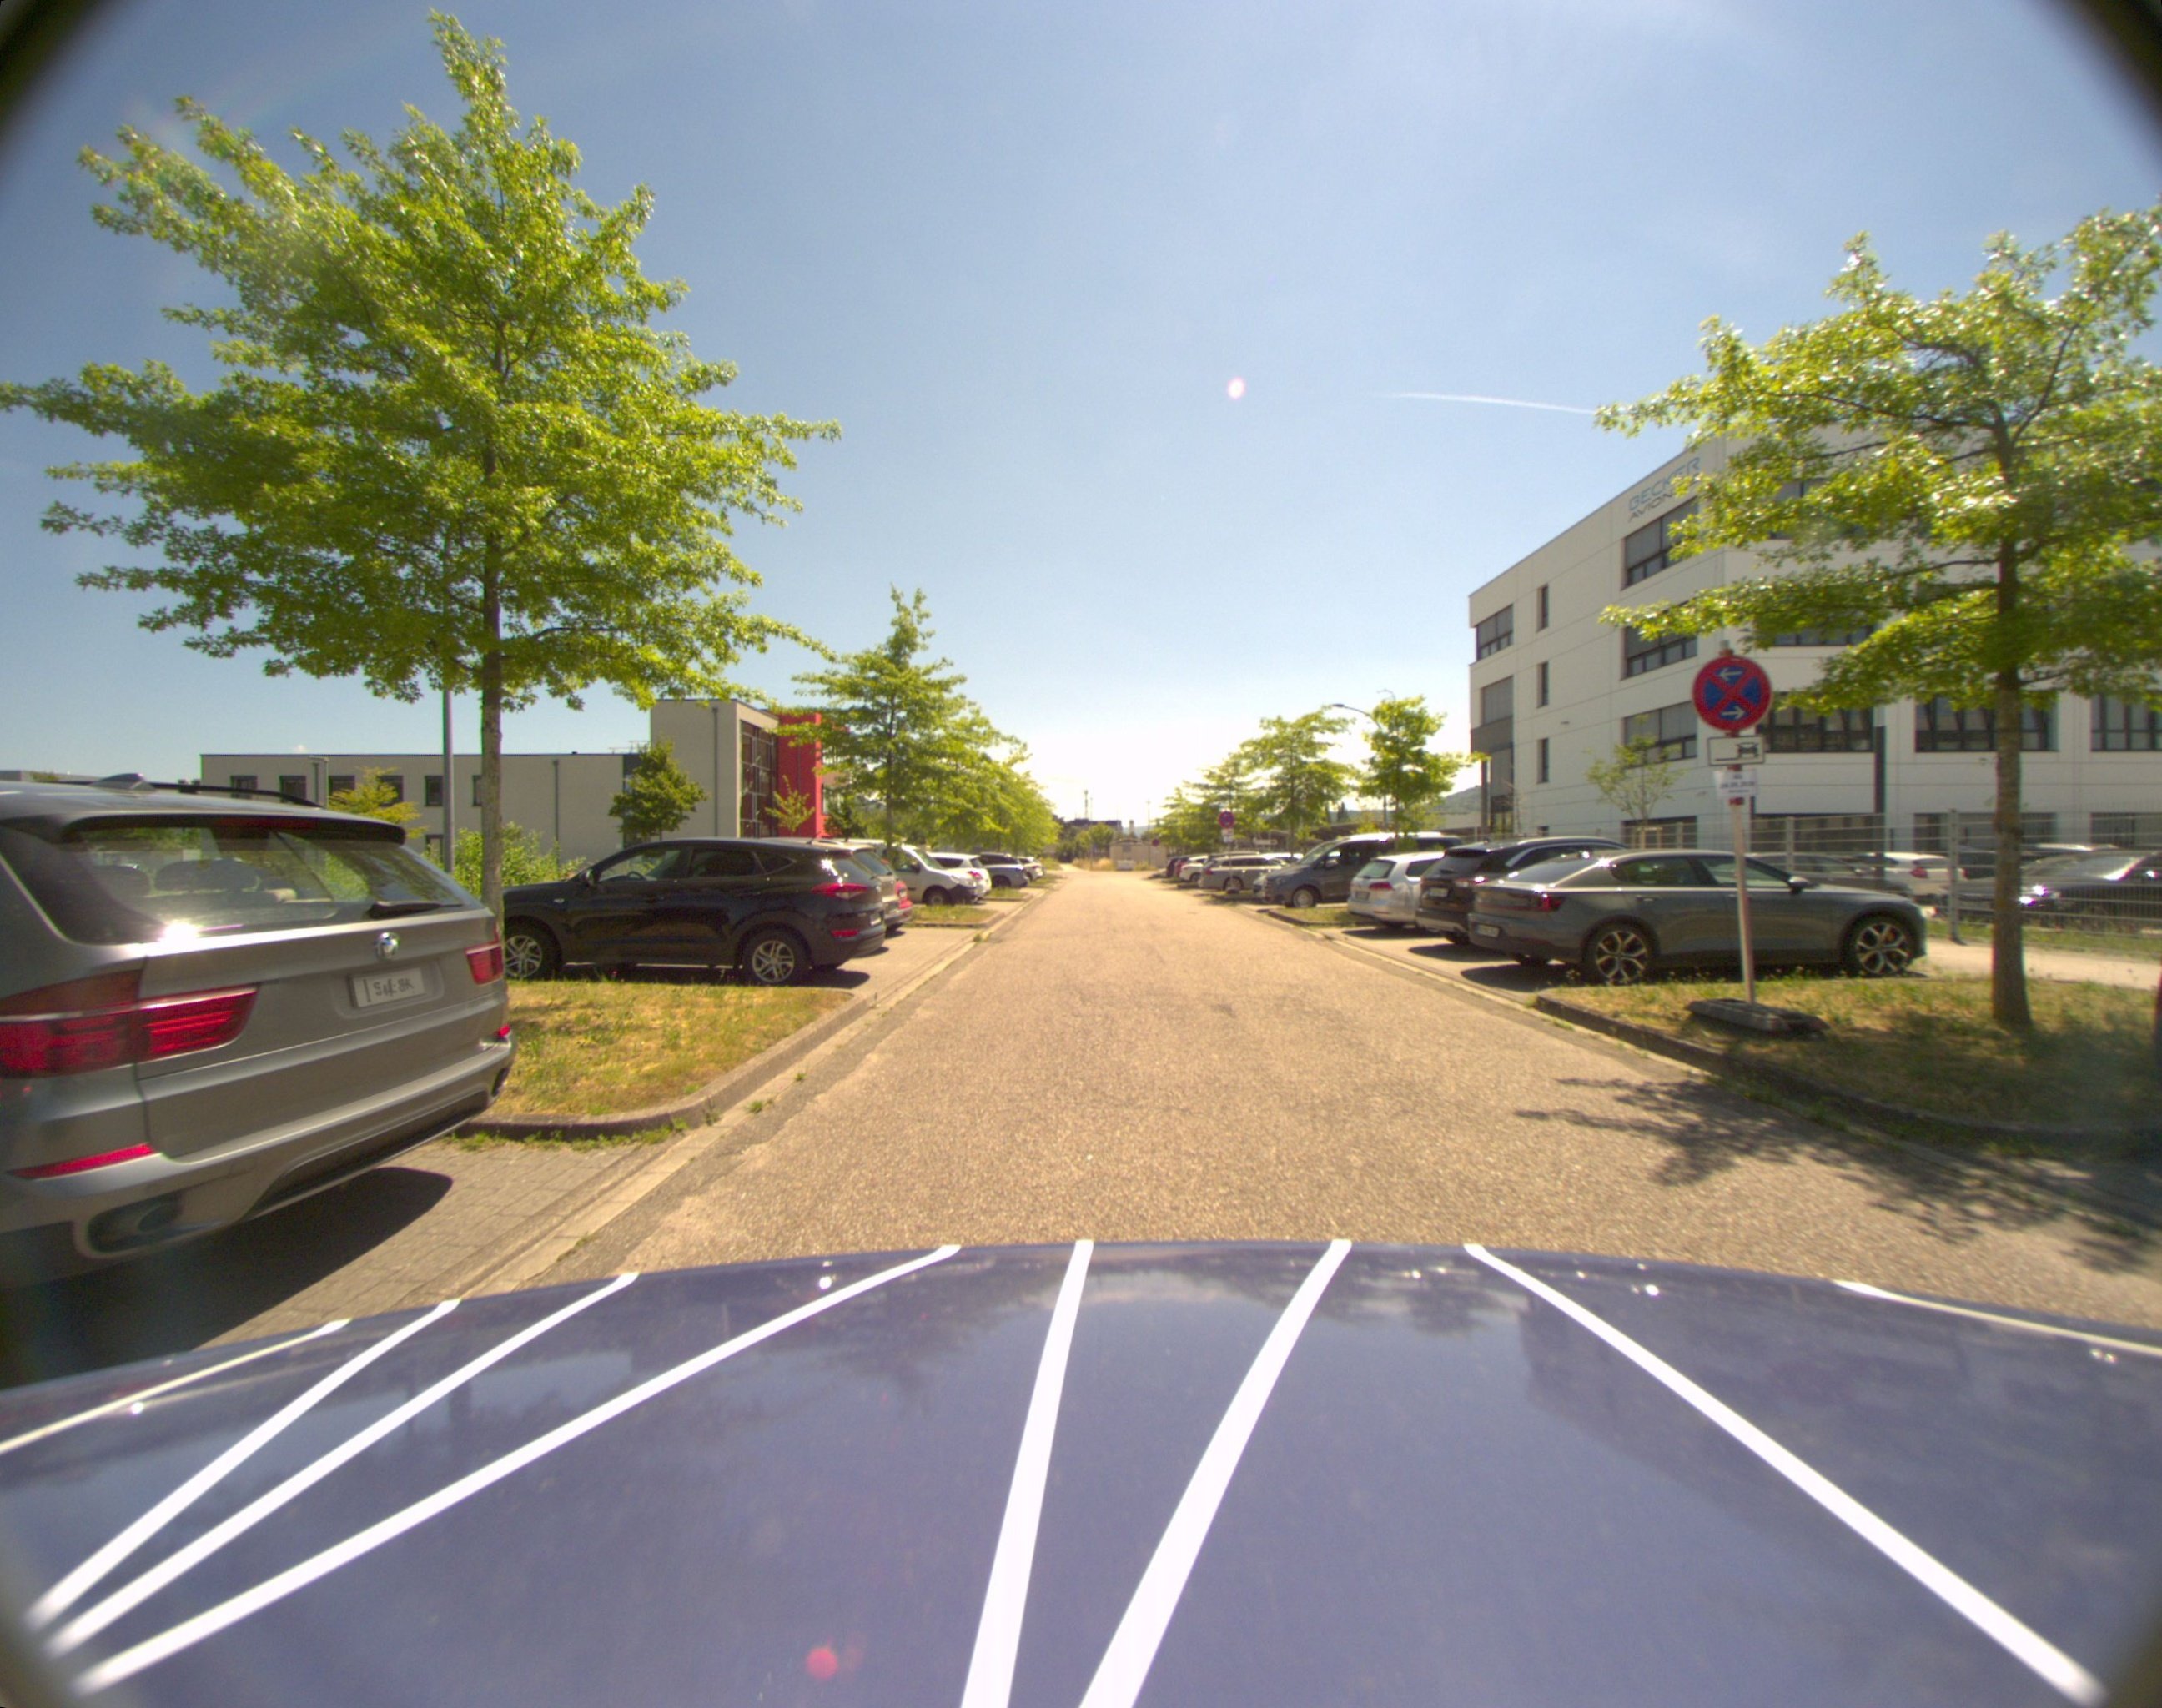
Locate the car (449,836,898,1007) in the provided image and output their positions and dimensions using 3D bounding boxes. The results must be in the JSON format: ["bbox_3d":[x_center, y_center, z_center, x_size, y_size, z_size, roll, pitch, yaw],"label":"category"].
[{"bbox_3d":[-4.424,0.696,8.741,4.184,1.686,1.782,1,0,0],"label":"car"}]

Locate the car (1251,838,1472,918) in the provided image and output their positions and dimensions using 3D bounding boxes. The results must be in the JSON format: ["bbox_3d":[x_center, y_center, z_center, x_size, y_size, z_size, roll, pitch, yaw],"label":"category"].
[{"bbox_3d":[7.254,0.610,20.090,5.082,1.880,1.997,-2,0,2],"label":"car"}]

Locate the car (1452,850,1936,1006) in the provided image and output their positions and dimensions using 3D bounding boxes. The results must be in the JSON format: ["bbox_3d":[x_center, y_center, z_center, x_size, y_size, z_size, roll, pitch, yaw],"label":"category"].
[{"bbox_3d":[6.877,0.781,8.874,4.203,1.471,1.712,-3,0,1],"label":"car"}]

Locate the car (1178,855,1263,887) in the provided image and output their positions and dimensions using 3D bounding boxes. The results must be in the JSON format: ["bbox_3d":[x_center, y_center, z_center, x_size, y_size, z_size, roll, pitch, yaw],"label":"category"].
[{"bbox_3d":[7.437,0.913,40.817,4.182,1.504,1.808,-2,-1,2],"label":"car"}]

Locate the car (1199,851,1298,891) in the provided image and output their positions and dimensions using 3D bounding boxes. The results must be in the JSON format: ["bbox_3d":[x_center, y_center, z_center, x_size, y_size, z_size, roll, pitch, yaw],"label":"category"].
[{"bbox_3d":[7.559,0.777,34.515,4.127,1.625,1.728,-2,0,3],"label":"car"}]

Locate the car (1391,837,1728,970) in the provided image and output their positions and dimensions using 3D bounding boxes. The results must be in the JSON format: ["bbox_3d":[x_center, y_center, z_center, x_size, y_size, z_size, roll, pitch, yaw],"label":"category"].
[{"bbox_3d":[7.088,0.681,11.515,3.998,1.669,1.776,-3,0,-4],"label":"car"}]

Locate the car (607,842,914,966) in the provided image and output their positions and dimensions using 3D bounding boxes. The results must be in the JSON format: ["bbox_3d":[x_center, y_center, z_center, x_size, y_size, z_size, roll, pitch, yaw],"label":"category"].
[{"bbox_3d":[-4.718,0.697,11.580,3.885,1.668,1.782,1,0,1],"label":"car"}]

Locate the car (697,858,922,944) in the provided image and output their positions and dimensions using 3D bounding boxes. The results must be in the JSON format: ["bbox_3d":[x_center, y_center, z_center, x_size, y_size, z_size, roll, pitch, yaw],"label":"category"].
[{"bbox_3d":[-4.854,0.810,13.925,3.466,1.408,1.754,1,0,0],"label":"car"}]

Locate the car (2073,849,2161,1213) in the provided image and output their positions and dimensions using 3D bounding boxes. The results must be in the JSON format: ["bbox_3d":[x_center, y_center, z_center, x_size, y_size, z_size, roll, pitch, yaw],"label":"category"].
[{"bbox_3d":[6.652,0.732,2.716,3.746,1.612,1.816,-2,0,1],"label":"car"}]

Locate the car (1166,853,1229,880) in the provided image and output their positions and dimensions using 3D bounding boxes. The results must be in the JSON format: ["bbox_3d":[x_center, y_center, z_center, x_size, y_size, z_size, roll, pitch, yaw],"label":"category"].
[{"bbox_3d":[7.635,0.818,50.065,3.915,1.582,1.728,-2,0,4],"label":"car"}]

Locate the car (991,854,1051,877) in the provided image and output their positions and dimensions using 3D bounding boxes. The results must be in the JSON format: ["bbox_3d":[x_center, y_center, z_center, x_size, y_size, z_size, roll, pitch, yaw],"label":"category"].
[{"bbox_3d":[-4.313,0.799,54.868,4.004,1.481,1.728,2,0,5],"label":"car"}]

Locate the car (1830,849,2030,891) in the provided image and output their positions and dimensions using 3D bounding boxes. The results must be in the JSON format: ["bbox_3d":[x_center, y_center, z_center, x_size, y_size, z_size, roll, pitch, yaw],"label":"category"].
[{"bbox_3d":[27.309,0.472,24.680,1.998,1.221,3.999,0,1,1],"label":"car"}]

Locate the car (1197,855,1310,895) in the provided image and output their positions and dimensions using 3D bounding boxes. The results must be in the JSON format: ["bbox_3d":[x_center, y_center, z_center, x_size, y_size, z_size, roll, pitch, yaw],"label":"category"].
[{"bbox_3d":[7.228,0.859,32.165,4.322,1.464,1.727,-2,0,-1],"label":"car"}]

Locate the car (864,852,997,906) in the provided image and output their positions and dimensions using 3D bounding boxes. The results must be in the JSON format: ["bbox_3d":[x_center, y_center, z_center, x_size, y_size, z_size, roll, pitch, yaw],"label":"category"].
[{"bbox_3d":[-4.472,0.733,22.951,3.640,1.494,1.676,1,1,2],"label":"car"}]

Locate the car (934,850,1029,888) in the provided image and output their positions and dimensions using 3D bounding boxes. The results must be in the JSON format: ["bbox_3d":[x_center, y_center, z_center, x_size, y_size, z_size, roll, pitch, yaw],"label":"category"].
[{"bbox_3d":[-4.511,0.668,34.765,4.056,1.615,1.693,1,0,1],"label":"car"}]

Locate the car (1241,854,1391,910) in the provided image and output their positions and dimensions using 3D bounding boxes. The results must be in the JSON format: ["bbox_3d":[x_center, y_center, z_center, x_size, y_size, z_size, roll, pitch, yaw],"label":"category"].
[{"bbox_3d":[7.069,0.819,23.141,3.978,1.475,1.764,-3,0,1],"label":"car"}]

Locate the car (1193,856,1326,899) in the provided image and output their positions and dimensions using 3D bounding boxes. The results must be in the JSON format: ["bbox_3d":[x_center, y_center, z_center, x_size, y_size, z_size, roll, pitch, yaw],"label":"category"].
[{"bbox_3d":[6.881,0.890,29.614,4.725,1.439,1.857,-2,0,0],"label":"car"}]

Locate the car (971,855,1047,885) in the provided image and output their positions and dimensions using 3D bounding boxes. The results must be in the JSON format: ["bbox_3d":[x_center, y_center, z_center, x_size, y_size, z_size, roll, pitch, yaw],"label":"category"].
[{"bbox_3d":[-3.880,0.875,41.456,3.842,1.544,1.780,0,-1,6],"label":"car"}]

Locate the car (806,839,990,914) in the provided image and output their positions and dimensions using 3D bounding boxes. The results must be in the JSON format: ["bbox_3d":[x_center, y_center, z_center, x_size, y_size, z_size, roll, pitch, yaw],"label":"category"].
[{"bbox_3d":[-4.795,0.567,20.306,4.413,1.819,1.796,1,1,2],"label":"car"}]

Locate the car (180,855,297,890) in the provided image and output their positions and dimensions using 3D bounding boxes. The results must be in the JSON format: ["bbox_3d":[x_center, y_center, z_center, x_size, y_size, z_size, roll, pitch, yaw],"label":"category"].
[{"bbox_3d":[-37.787,0.803,34.143,3.331,1.501,1.719,0,0,1],"label":"car"}]

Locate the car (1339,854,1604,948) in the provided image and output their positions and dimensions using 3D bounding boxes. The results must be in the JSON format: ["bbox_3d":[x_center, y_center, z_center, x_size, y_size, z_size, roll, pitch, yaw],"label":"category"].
[{"bbox_3d":[7.062,0.814,13.984,4.048,1.452,1.604,-3,0,-2],"label":"car"}]

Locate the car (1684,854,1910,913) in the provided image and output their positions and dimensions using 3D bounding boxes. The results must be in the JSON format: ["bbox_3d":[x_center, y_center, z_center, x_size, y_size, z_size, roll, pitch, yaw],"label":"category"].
[{"bbox_3d":[17.317,0.681,18.487,3.998,1.324,1.677,1,0,-3],"label":"car"}]

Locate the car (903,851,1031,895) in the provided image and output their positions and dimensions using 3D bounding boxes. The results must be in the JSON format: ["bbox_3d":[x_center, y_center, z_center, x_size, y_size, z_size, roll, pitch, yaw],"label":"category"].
[{"bbox_3d":[-4.334,0.729,29.473,4.729,1.552,1.913,1,0,-3],"label":"car"}]

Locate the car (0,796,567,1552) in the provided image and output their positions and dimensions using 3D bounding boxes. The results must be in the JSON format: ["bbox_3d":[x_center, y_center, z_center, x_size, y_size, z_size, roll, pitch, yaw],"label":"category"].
[{"bbox_3d":[-4.743,0.705,2.679,4.461,1.758,1.992,1,0,-1],"label":"car"}]

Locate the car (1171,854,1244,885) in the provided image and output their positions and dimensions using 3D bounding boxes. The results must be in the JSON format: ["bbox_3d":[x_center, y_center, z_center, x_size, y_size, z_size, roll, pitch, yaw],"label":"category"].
[{"bbox_3d":[7.219,0.887,43.542,3.849,1.582,1.727,-2,0,-1],"label":"car"}]

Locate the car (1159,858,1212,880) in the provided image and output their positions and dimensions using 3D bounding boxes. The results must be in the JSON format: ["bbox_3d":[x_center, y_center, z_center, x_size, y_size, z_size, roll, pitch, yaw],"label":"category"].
[{"bbox_3d":[7.522,1.040,54.996,3.513,1.432,1.727,-2,0,0],"label":"car"}]
